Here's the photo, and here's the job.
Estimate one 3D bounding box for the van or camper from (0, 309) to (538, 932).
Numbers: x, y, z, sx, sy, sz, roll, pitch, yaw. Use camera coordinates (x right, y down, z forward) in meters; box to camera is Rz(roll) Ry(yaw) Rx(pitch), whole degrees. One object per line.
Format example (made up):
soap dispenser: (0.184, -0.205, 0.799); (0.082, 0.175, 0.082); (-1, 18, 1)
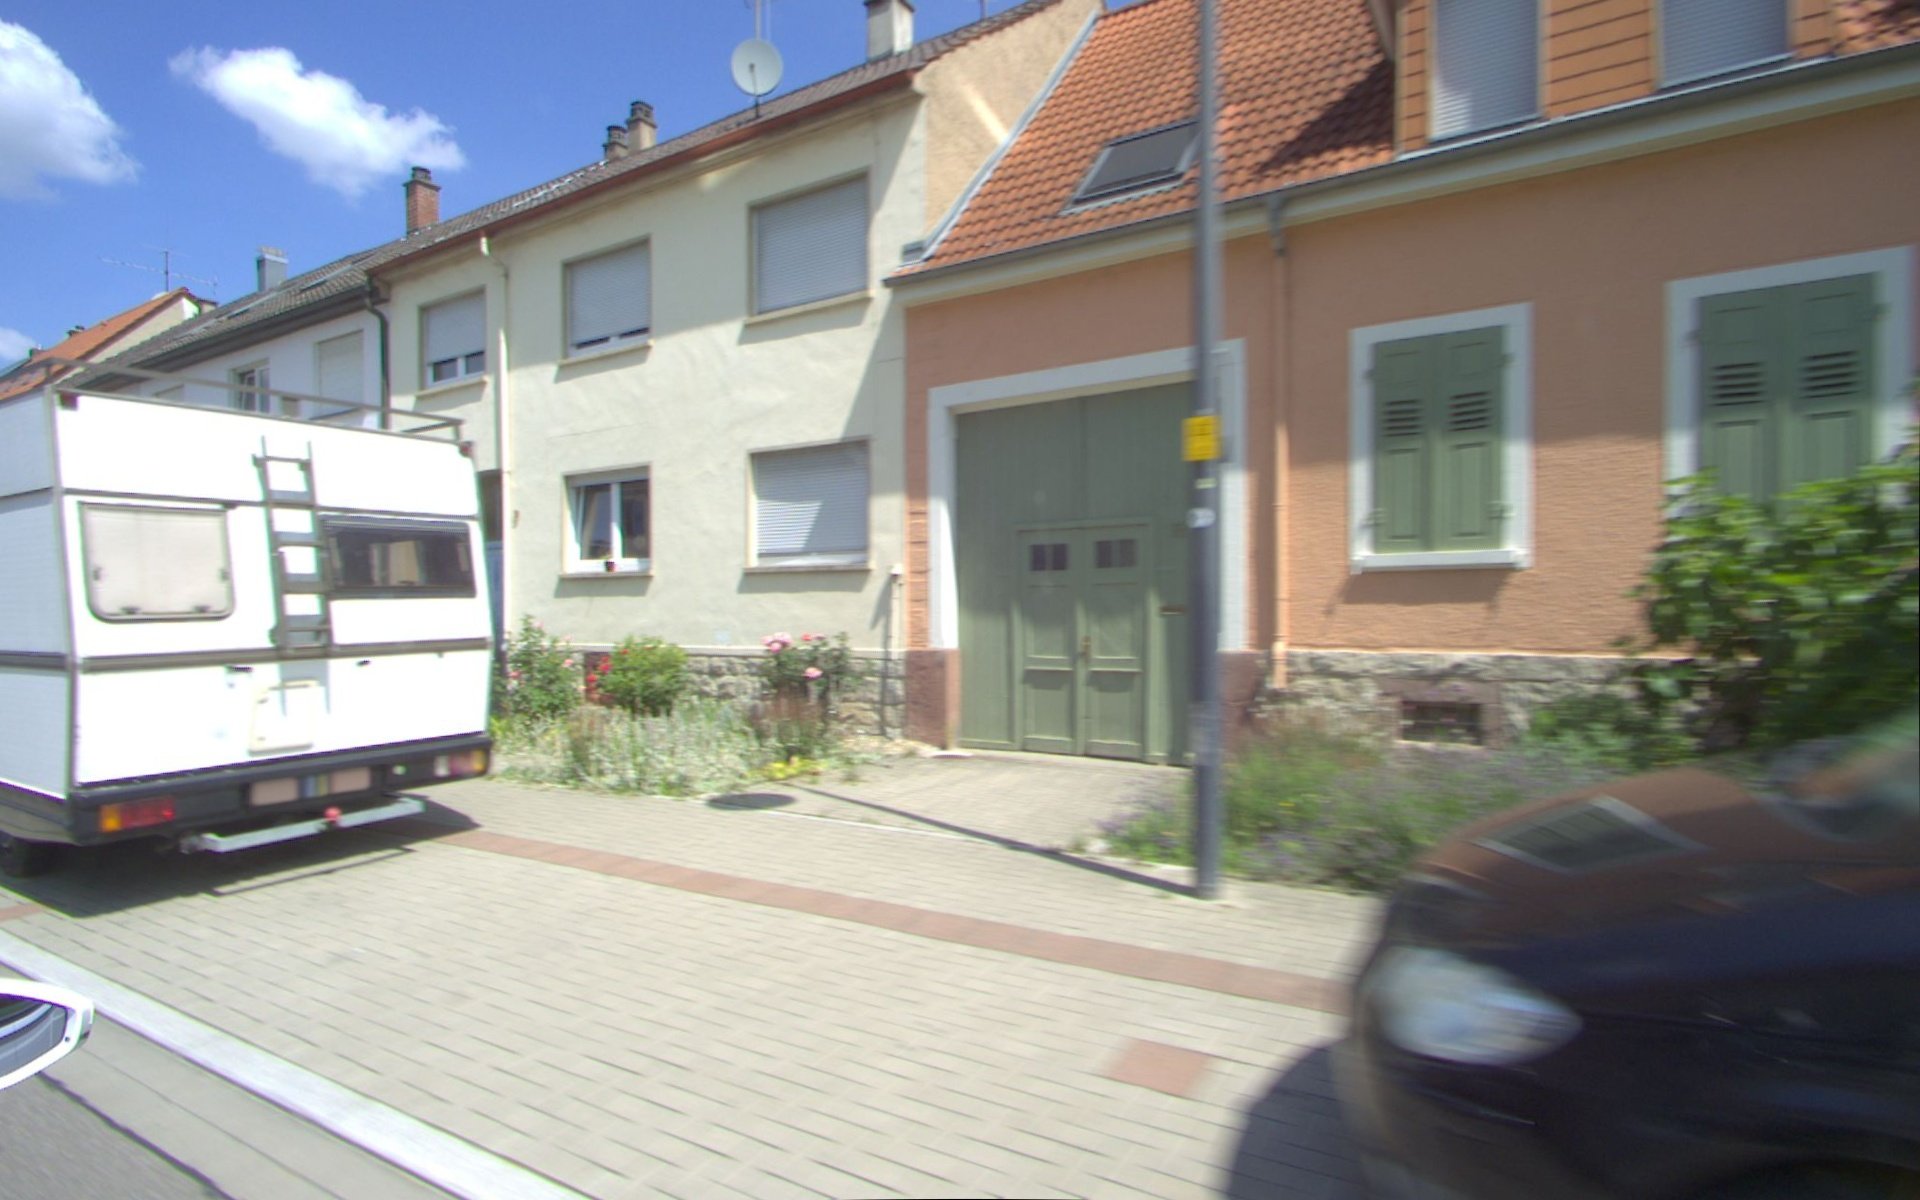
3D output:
van or camper: (-5.901, 0.102, 7.136); (5.706, 2.848, 2.468); (0, 1, 32)

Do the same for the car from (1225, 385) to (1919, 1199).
car: (2.738, 0.576, 1.407); (4.263, 1.727, 1.763); (-1, -1, 32)
